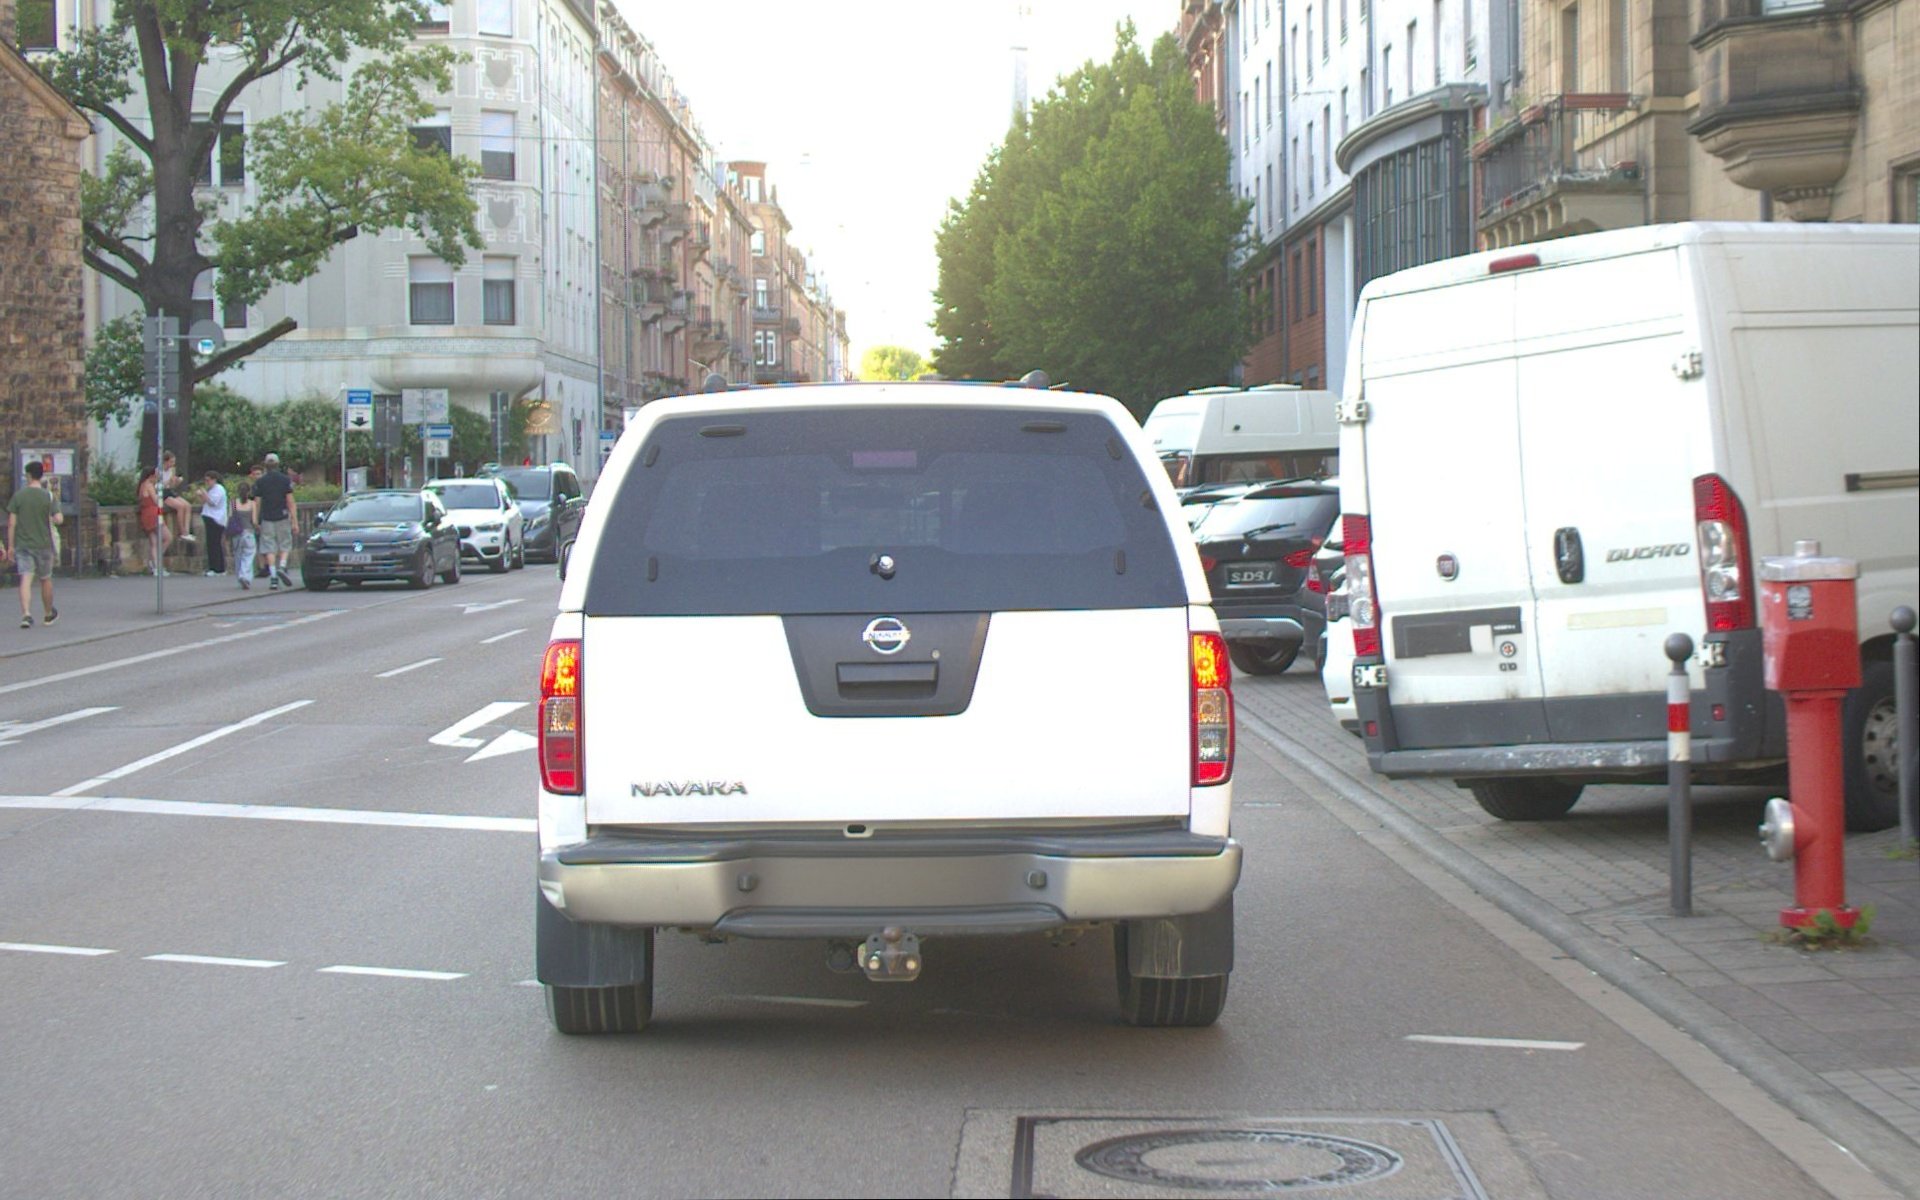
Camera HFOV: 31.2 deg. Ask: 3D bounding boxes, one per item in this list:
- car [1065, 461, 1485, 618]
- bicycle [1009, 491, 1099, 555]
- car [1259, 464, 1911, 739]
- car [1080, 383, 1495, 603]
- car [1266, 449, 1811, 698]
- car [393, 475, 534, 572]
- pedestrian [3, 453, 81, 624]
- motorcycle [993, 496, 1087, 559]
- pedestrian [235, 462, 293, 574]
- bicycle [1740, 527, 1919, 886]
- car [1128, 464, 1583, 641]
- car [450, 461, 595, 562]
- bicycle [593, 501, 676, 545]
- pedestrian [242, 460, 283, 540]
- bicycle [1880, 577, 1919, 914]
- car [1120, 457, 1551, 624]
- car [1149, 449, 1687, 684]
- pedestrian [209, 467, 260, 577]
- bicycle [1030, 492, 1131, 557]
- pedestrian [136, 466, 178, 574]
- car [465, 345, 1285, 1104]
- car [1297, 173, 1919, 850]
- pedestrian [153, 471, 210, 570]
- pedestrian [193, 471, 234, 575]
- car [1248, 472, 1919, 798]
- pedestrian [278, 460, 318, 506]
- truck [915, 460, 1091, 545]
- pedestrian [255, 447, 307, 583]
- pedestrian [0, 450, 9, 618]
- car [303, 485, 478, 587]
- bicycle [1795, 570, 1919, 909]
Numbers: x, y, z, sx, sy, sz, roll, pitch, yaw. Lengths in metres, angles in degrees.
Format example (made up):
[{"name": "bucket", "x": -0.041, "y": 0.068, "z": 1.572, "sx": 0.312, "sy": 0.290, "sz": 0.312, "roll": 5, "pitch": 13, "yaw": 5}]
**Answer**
[{"name": "car", "x": 3.561, "y": -0.702, "z": 38.649, "sx": 4.385, "sy": 1.481, "sz": 1.844, "roll": -4, "pitch": 3, "yaw": -30}, {"name": "bicycle", "x": 1.847, "y": -1.512, "z": 67.473, "sx": 1.707, "sy": 1.172, "sz": 0.472, "roll": -2, "pitch": 2, "yaw": -1}, {"name": "car", "x": 3.967, "y": -0.017, "z": 21.544, "sx": 3.905, "sy": 1.441, "sz": 1.874, "roll": -4, "pitch": 1, "yaw": -40}, {"name": "car", "x": 3.975, "y": -1.302, "z": 41.571, "sx": 4.710, "sy": 2.538, "sz": 1.918, "roll": -2, "pitch": 1, "yaw": -29}, {"name": "car", "x": 4.228, "y": -0.213, "z": 24.820, "sx": 3.906, "sy": 1.539, "sz": 1.717, "roll": -4, "pitch": 1, "yaw": -41}, {"name": "car", "x": -8.499, "y": -1.334, "z": 59.189, "sx": 1.871, "sy": 1.586, "sz": 4.469, "roll": -1, "pitch": 2, "yaw": -2}, {"name": "pedestrian", "x": -10.163, "y": -0.690, "z": 38.089, "sx": 0.646, "sy": 1.873, "sz": 0.891, "roll": 0, "pitch": 2, "yaw": -3}, {"name": "motorcycle", "x": 1.525, "y": -1.383, "z": 65.400, "sx": 1.644, "sy": 1.098, "sz": 0.647, "roll": -3, "pitch": 2, "yaw": -8}, {"name": "pedestrian", "x": -10.780, "y": -1.277, "z": 53.255, "sx": 0.714, "sy": 1.719, "sz": 0.692, "roll": -1, "pitch": 2, "yaw": 1}, {"name": "bicycle", "x": 3.883, "y": 0.320, "z": 12.340, "sx": 1.995, "sy": 1.200, "sz": 0.542, "roll": -4, "pitch": 2, "yaw": -8}, {"name": "car", "x": 3.822, "y": -0.471, "z": 33.000, "sx": 4.022, "sy": 1.427, "sz": 1.868, "roll": -5, "pitch": 2, "yaw": -34}, {"name": "car", "x": -8.379, "y": -1.730, "z": 66.302, "sx": 1.993, "sy": 1.860, "sz": 5.290, "roll": 0, "pitch": 2, "yaw": 1}, {"name": "bicycle", "x": -8.252, "y": -1.959, "z": 87.176, "sx": 2.113, "sy": 1.091, "sz": 0.500, "roll": 1, "pitch": 3, "yaw": 25}, {"name": "pedestrian", "x": -15.163, "y": -2.178, "z": 74.783, "sx": 0.706, "sy": 1.715, "sz": 0.837, "roll": -1, "pitch": 2, "yaw": -2}, {"name": "bicycle", "x": 4.082, "y": 0.415, "z": 11.196, "sx": 1.995, "sy": 1.084, "sz": 0.542, "roll": -4, "pitch": 2, "yaw": -8}, {"name": "car", "x": 3.933, "y": -0.621, "z": 35.933, "sx": 4.108, "sy": 1.540, "sz": 1.795, "roll": -3, "pitch": 0, "yaw": -28}, {"name": "car", "x": 3.679, "y": -0.295, "z": 27.300, "sx": 4.087, "sy": 1.602, "sz": 1.816, "roll": -4, "pitch": 2, "yaw": -38}, {"name": "pedestrian", "x": -10.271, "y": -1.113, "z": 48.705, "sx": 0.582, "sy": 1.546, "sz": 0.839, "roll": 0, "pitch": 2, "yaw": -3}, {"name": "bicycle", "x": 2.332, "y": -1.465, "z": 66.534, "sx": 1.859, "sy": 1.142, "sz": 0.659, "roll": -4, "pitch": 2, "yaw": 0}, {"name": "pedestrian", "x": -12.441, "y": -1.245, "z": 53.262, "sx": 0.414, "sy": 1.668, "sz": 0.548, "roll": -2, "pitch": 2, "yaw": -40}, {"name": "car", "x": -0.224, "y": 0.213, "z": 10.501, "sx": 1.933, "sy": 1.788, "sz": 4.622, "roll": -1, "pitch": 2, "yaw": -1}, {"name": "car", "x": 4.426, "y": -0.445, "z": 15.645, "sx": 5.868, "sy": 2.543, "sz": 2.195, "roll": -4, "pitch": 1, "yaw": -41}, {"name": "pedestrian", "x": -12.253, "y": -1.258, "z": 54.121, "sx": 0.651, "sy": 1.540, "sz": 0.585, "roll": 1, "pitch": 2, "yaw": 24}, {"name": "pedestrian", "x": -11.665, "y": -1.212, "z": 53.719, "sx": 0.414, "sy": 1.616, "sz": 0.548, "roll": -2, "pitch": 2, "yaw": -40}, {"name": "car", "x": 3.789, "y": 0.106, "z": 18.220, "sx": 4.242, "sy": 1.448, "sz": 1.999, "roll": -4, "pitch": 2, "yaw": -38}, {"name": "pedestrian", "x": -14.395, "y": -2.550, "z": 74.785, "sx": 0.706, "sy": 0.977, "sz": 0.837, "roll": -1, "pitch": 2, "yaw": -2}, {"name": "truck", "x": 1.583, "y": -3.516, "z": 124.826, "sx": 6.320, "sy": 2.966, "sz": 2.264, "roll": 0, "pitch": -1, "yaw": 2}, {"name": "pedestrian", "x": -9.634, "y": -1.212, "z": 48.819, "sx": 0.582, "sy": 1.898, "sz": 0.803, "roll": -1, "pitch": 2, "yaw": -3}, {"name": "pedestrian", "x": -10.890, "y": -0.725, "z": 37.881, "sx": 0.572, "sy": 1.850, "sz": 0.989, "roll": 0, "pitch": 2, "yaw": -3}, {"name": "car", "x": -8.425, "y": -0.985, "z": 51.184, "sx": 1.783, "sy": 1.430, "sz": 4.316, "roll": -1, "pitch": 2, "yaw": 1}, {"name": "bicycle", "x": 3.942, "y": 0.408, "z": 11.772, "sx": 1.995, "sy": 1.084, "sz": 0.542, "roll": -4, "pitch": 2, "yaw": -8}]
